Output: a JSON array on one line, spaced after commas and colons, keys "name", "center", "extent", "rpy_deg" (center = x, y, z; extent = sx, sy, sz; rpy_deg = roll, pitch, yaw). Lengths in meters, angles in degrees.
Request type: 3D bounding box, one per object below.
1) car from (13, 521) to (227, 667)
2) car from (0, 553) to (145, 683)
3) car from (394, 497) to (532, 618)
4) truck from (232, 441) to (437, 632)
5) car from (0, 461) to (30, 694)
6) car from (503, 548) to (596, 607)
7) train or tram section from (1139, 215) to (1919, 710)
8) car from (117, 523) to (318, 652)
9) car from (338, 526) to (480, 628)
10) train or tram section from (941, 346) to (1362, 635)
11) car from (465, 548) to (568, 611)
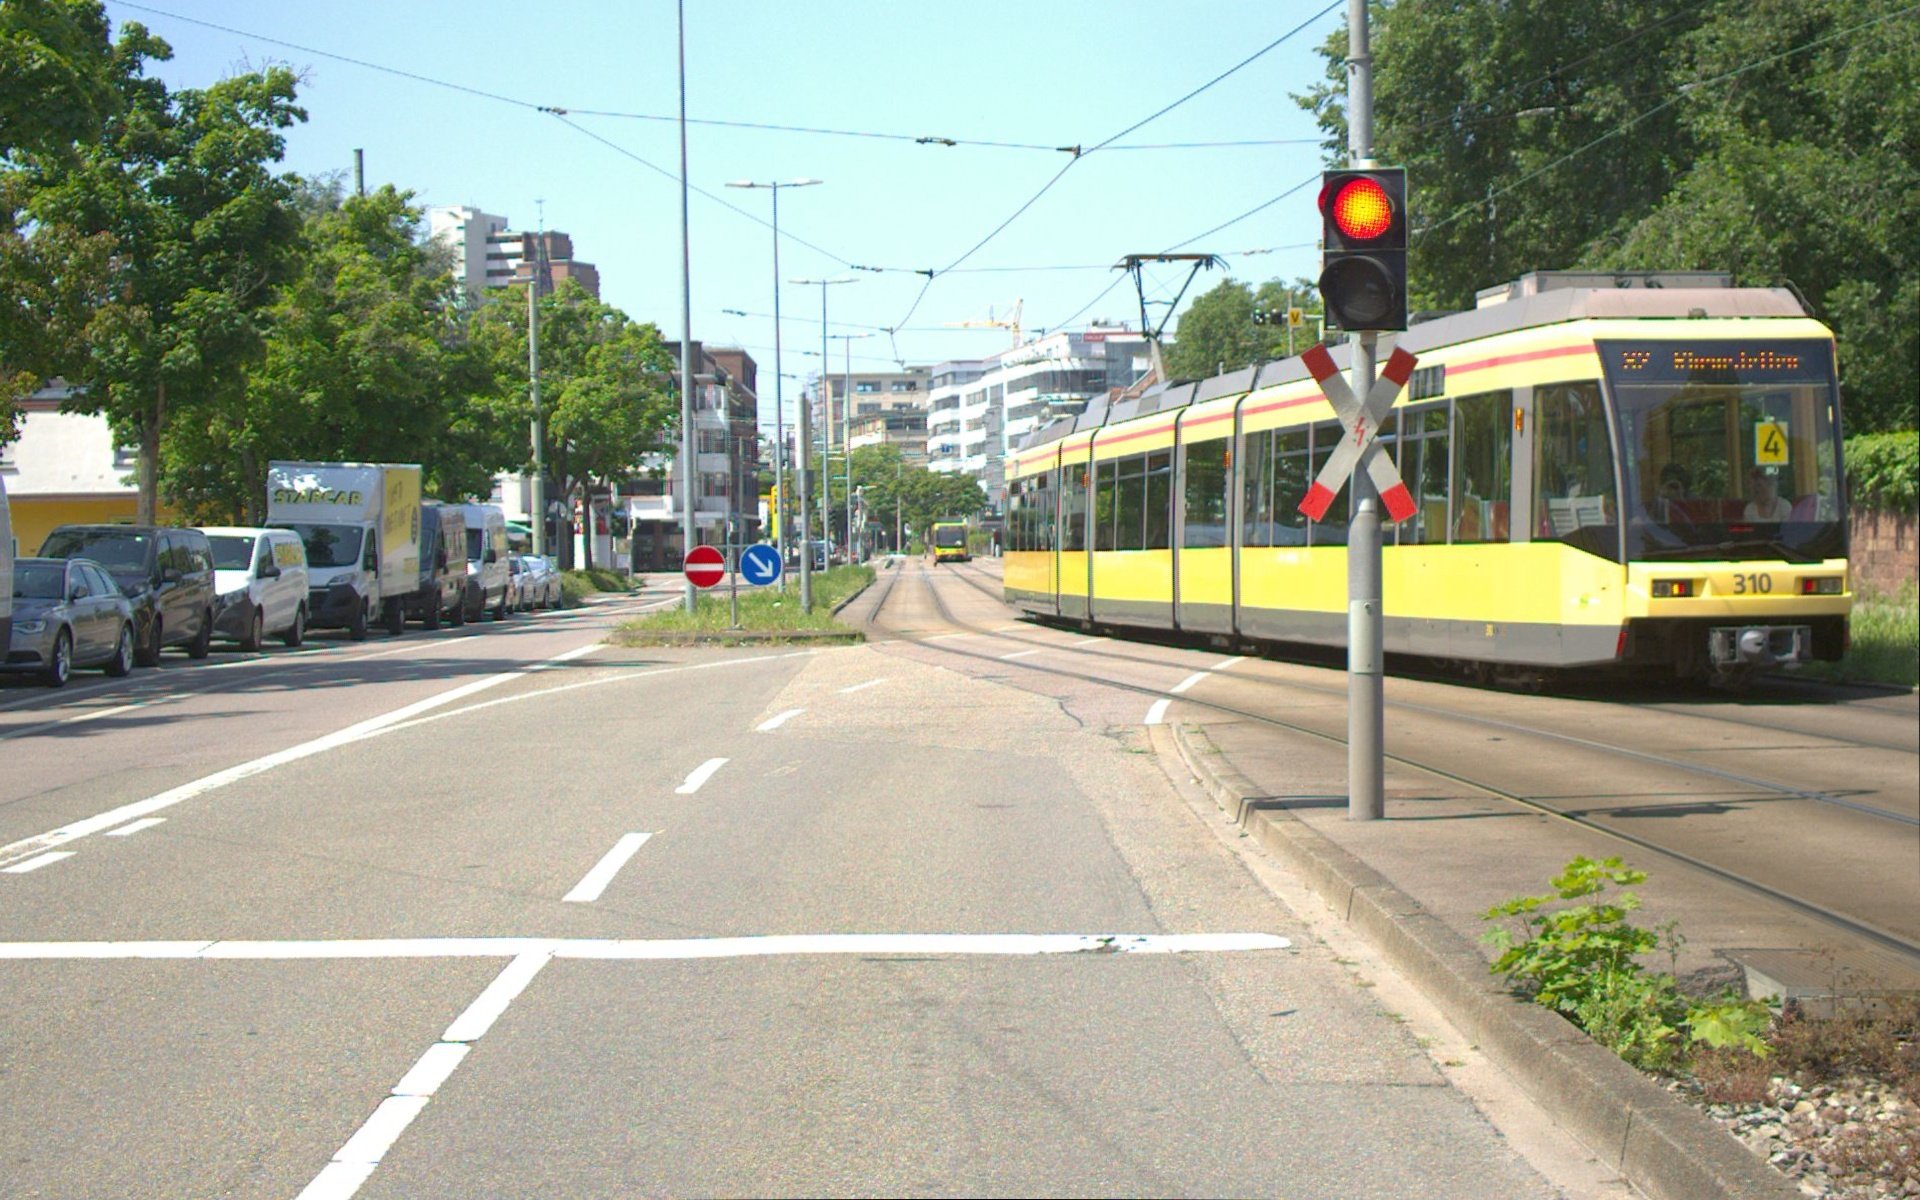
[{"name": "car", "center": [-11.525, -0.127, 47.421], "extent": [1.868, 1.888, 4.271], "rpy_deg": [-1, 1, 0]}, {"name": "car", "center": [-11.180, 0.186, 40.994], "extent": [1.868, 1.432, 4.343], "rpy_deg": [-1, 1, 0]}, {"name": "car", "center": [-11.223, -0.996, 78.018], "extent": [2.157, 2.630, 5.611], "rpy_deg": [1, 1, 2]}, {"name": "truck", "center": [-11.296, -1.170, 62.650], "extent": [2.157, 3.199, 7.082], "rpy_deg": [2, 1, 2]}, {"name": "car", "center": [-11.363, -0.229, 34.498], "extent": [2.157, 2.478, 6.193], "rpy_deg": [2, 1, 2]}, {"name": "car", "center": [-11.772, -0.661, 98.928], "extent": [2.061, 1.576, 4.871], "rpy_deg": [-1, 1, 0]}, {"name": "train or tram section", "center": [4.871, -1.239, 34.850], "extent": [2.943, 3.679, 18.394], "rpy_deg": [0, 1, -7]}, {"name": "car", "center": [-11.593, -0.239, 54.015], "extent": [2.061, 1.891, 4.871], "rpy_deg": [-1, 1, 0]}, {"name": "car", "center": [-11.178, -0.499, 70.063], "extent": [2.061, 1.970, 4.871], "rpy_deg": [-1, 1, 0]}, {"name": "train or tram section", "center": [2.405, -1.632, 53.958], "extent": [2.943, 3.679, 20.289], "rpy_deg": [0, 1, -7]}, {"name": "car", "center": [-11.755, -0.563, 91.423], "extent": [2.061, 1.576, 4.871], "rpy_deg": [-1, 1, 0]}]
